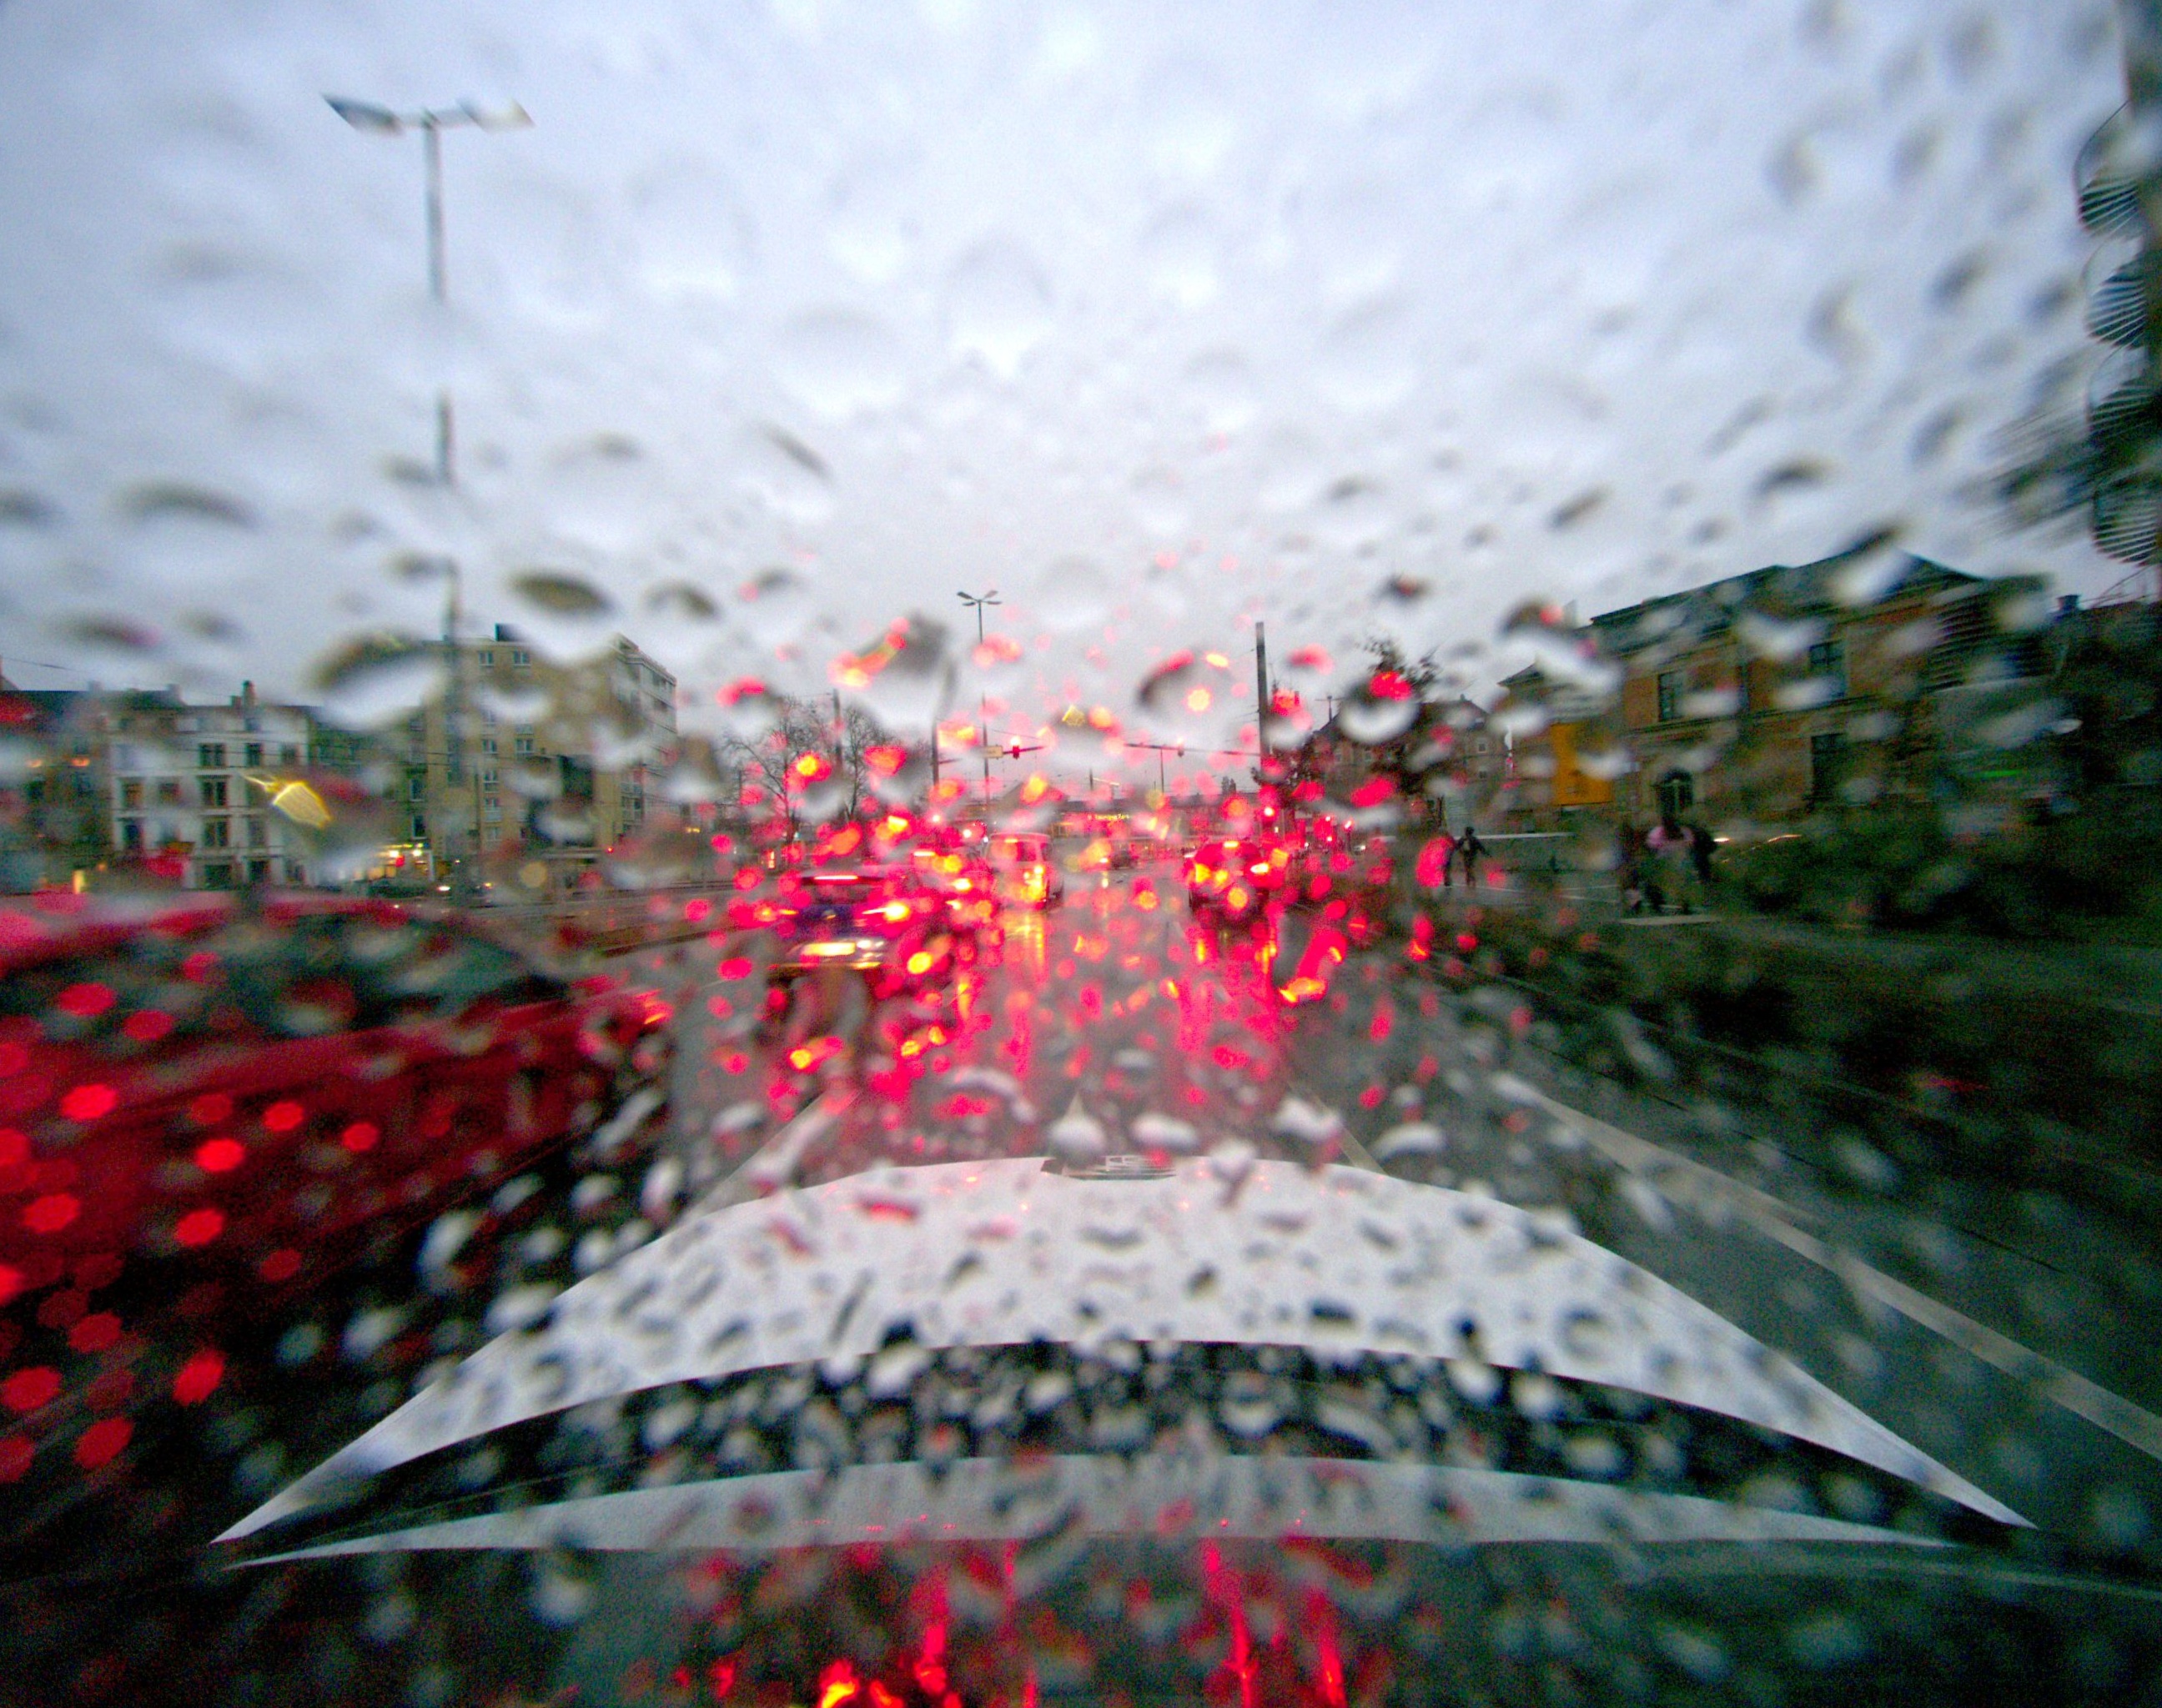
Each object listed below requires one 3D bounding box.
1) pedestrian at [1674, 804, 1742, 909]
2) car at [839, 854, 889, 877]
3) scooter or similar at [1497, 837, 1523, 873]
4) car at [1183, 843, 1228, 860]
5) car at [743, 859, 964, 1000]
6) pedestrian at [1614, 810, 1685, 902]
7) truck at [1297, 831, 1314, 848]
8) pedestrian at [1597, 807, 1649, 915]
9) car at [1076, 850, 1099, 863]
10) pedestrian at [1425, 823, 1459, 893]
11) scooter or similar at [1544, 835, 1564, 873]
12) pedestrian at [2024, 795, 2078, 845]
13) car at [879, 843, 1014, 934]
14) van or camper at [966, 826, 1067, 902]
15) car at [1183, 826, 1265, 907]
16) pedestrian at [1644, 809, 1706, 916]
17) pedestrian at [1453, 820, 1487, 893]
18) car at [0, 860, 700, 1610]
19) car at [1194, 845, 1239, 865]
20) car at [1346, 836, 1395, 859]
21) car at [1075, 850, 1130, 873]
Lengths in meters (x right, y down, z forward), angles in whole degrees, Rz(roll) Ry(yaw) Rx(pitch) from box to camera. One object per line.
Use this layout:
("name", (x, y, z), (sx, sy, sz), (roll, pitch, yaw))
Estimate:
("pedestrian", (10.434, 0.046, 13.580), (0.711, 1.687, 0.765), (-3, -1, 28))
("car", (-18.304, 0.967, 68.680), (3.997, 1.772, 1.988), (-3, 0, -18))
("scooter or similar", (15.226, 0.028, 28.884), (0.507, 1.213, 1.392), (-3, -1, 40))
("car", (11.460, -0.230, 75.136), (3.793, 1.366, 1.851), (-3, 0, -1))
("car", (-2.608, 0.781, 10.349), (1.654, 1.404, 4.119), (0, 0, 0))
("pedestrian", (11.543, 0.036, 16.552), (0.852, 1.791, 0.745), (-2, -1, -14))
("truck", (36.138, -2.294, 130.826), (1.976, 2.691, 5.143), (-3, 0, 22))
("pedestrian", (9.225, 0.118, 13.885), (0.578, 1.781, 0.774), (-4, -1, 29))
("car", (0.835, 0.321, 96.460), (1.800, 1.446, 4.015), (-3, 0, 14))
("pedestrian", (10.258, 0.095, 23.137), (0.800, 1.929, 0.765), (0, 2, 29))
("scooter or similar", (15.608, -0.002, 26.844), (0.507, 1.213, 1.392), (-3, 0, 31))
("pedestrian", (34.119, -1.193, 28.660), (0.913, 1.704, 0.801), (-3, 0, -4))
("car", (-2.545, 0.604, 16.573), (1.778, 1.601, 4.544), (0, 0, 3))
("van or camper", (-1.851, 0.277, 25.212), (2.191, 2.109, 4.995), (-1, 0, 6))
("car", (3.516, 0.267, 20.646), (1.768, 1.800, 4.433), (-1, 0, 7))
("pedestrian", (9.797, 0.134, 13.451), (0.661, 1.687, 0.616), (-4, 1, 29))
("pedestrian", (10.976, 0.051, 22.949), (0.800, 2.013, 0.765), (0, 2, 29))
("car", (-3.101, 0.791, 2.977), (1.696, 1.482, 3.868), (1, 0, -2))
("car", (11.737, 0.058, 70.356), (1.974, 1.602, 4.025), (-3, 0, 40))
("car", (28.633, -0.621, 80.696), (4.373, 2.013, 1.918), (-3, 0, 12))
("car", (1.602, 0.534, 59.352), (1.974, 1.514, 4.026), (-3, 0, 39))
